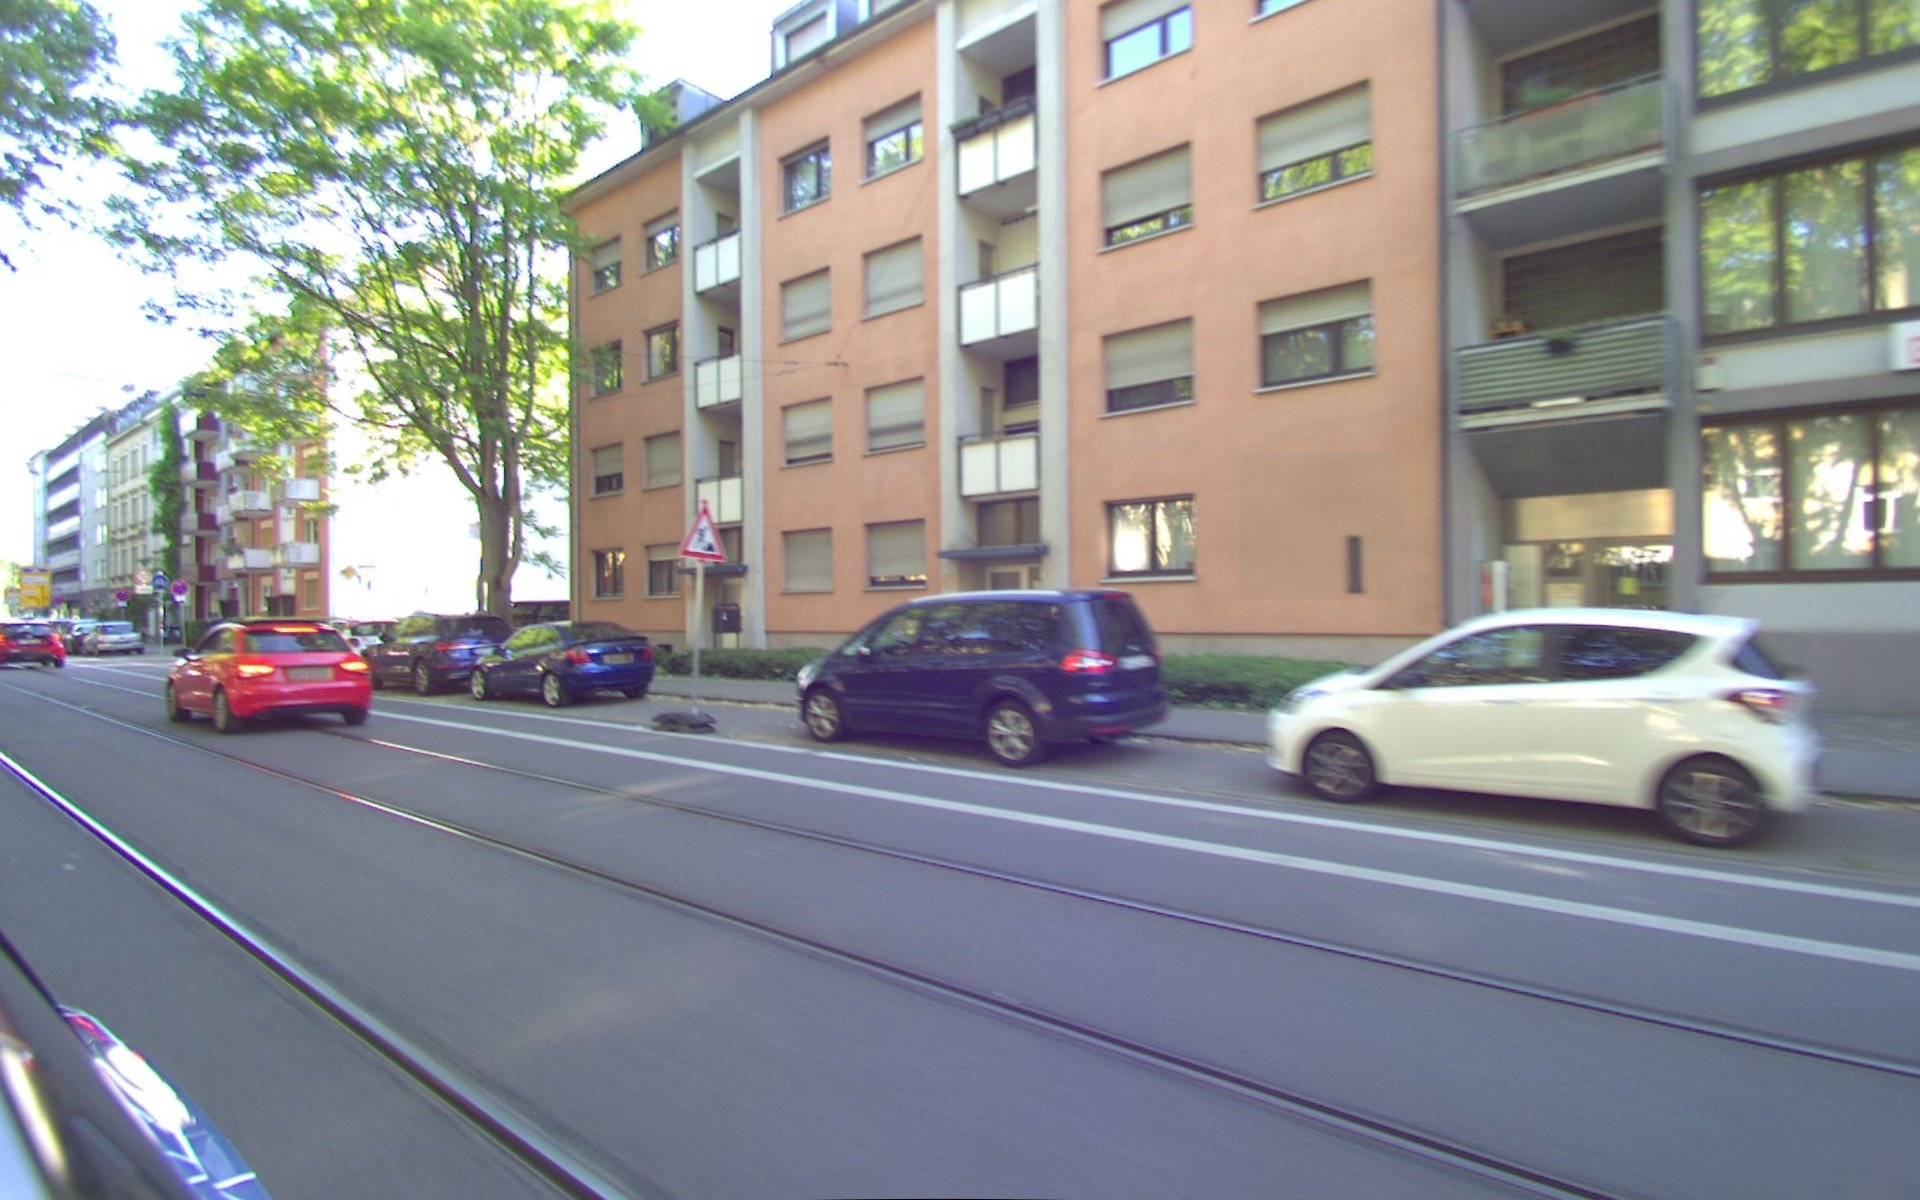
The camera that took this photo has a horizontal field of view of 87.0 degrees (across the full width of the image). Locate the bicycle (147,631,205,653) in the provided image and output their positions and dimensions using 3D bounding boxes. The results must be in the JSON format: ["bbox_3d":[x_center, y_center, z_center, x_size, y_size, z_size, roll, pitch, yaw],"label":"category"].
[{"bbox_3d":[-43.602,2.322,56.322,0.698,1.070,2.427,-2,0,38],"label":"bicycle"}]

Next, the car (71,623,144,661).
[{"bbox_3d":[-36.472,1.764,43.256,3.927,1.494,1.708,-2,1,40],"label":"car"}]

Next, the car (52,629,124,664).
[{"bbox_3d":[-40.311,2.107,46.743,4.861,1.405,1.932,-2,1,42],"label":"car"}]

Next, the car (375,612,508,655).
[{"bbox_3d":[-21.295,1.326,41.702,1.937,1.618,4.485,0,0,41],"label":"car"}]

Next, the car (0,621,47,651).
[{"bbox_3d":[-59.906,2.319,64.547,4.465,1.784,1.771,-2,0,38],"label":"car"}]

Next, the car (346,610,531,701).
[{"bbox_3d":[-10.955,1.098,21.121,4.584,1.622,1.763,-2,1,40],"label":"car"}]

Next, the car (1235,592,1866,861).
[{"bbox_3d":[4.312,0.771,7.788,3.859,1.499,1.693,-2,1,40],"label":"car"}]

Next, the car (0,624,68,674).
[{"bbox_3d":[-29.127,1.491,31.283,4.200,1.469,1.757,-2,-3,41],"label":"car"}]

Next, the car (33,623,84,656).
[{"bbox_3d":[-47.755,2.059,53.601,3.780,1.583,1.608,-1,0,42],"label":"car"}]

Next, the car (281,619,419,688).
[{"bbox_3d":[-15.057,1.248,24.905,4.089,1.489,1.787,-1,1,42],"label":"car"}]

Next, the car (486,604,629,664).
[{"bbox_3d":[-14.904,1.235,37.552,4.675,2.139,1.992,-1,0,13],"label":"car"}]

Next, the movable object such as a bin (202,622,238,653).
[{"bbox_3d":[-34.002,1.721,46.494,0.747,1.375,1.198,-2,-2,42],"label":"movable object such as a bin"}]

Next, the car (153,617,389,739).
[{"bbox_3d":[-9.626,0.985,14.027,4.067,1.448,1.705,-2,-2,41],"label":"car"}]

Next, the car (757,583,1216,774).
[{"bbox_3d":[0.090,0.740,11.402,5.067,1.699,1.933,-2,0,40],"label":"car"}]

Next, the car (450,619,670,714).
[{"bbox_3d":[-7.165,1.095,17.915,4.379,1.411,1.721,-2,1,40],"label":"car"}]
